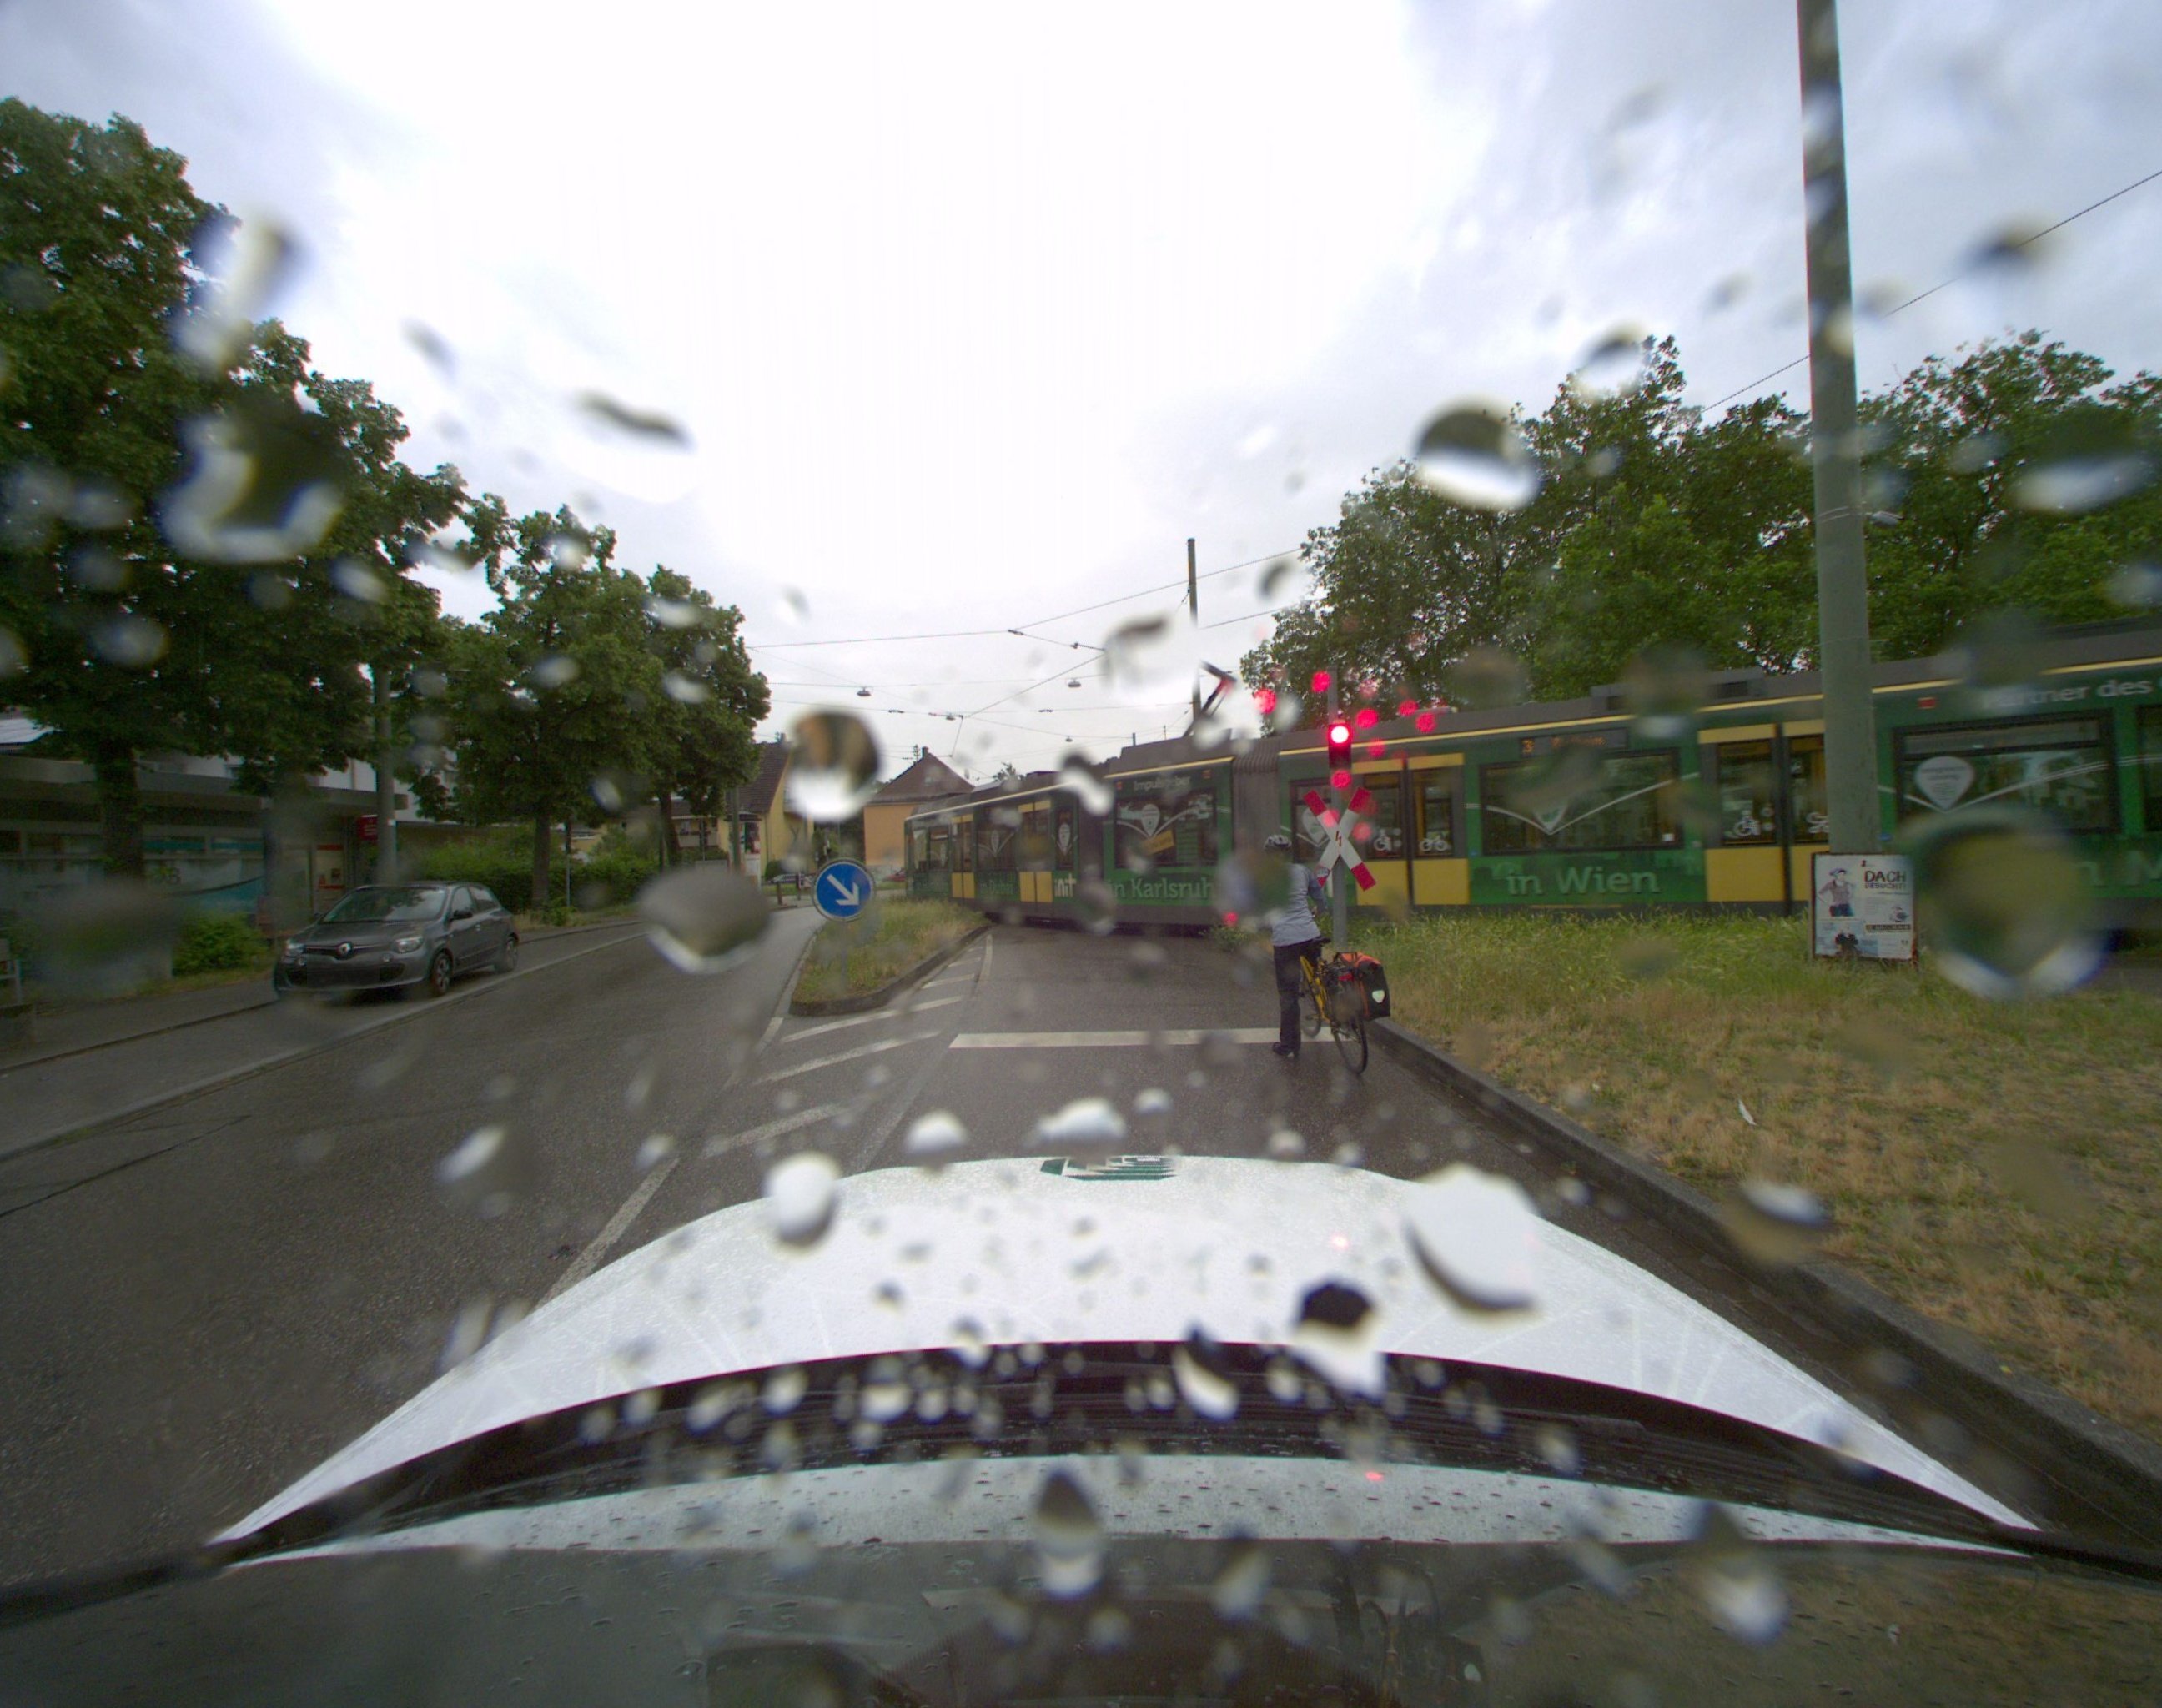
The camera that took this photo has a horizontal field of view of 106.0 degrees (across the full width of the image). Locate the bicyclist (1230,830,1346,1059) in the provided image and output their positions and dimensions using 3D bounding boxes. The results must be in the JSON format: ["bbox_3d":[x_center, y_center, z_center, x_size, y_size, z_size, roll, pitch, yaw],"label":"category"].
[{"bbox_3d":[1.554,0.646,6.229,0.665,1.626,0.853,0,-1,1],"label":"bicyclist"}]

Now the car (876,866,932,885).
[{"bbox_3d":[-13.665,1.650,63.075,3.979,1.456,1.831,0,-1,-5],"label":"car"}]

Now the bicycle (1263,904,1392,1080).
[{"bbox_3d":[1.790,0.948,6.141,0.444,1.004,1.728,-2,0,1],"label":"bicycle"}]

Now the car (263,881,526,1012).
[{"bbox_3d":[-9.695,1.189,11.881,1.621,1.496,3.645,0,-1,-18],"label":"car"}]

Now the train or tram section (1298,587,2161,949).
[{"bbox_3d":[9.250,-0.770,10.439,12.046,3.553,2.787,-3,-1,31],"label":"train or tram section"}]

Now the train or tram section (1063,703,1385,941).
[{"bbox_3d":[2.469,-0.427,14.869,4.925,3.553,2.786,-3,-1,43],"label":"train or tram section"}]

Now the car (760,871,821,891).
[{"bbox_3d":[-22.111,2.029,62.030,3.979,1.456,1.831,0,-1,-5],"label":"car"}]

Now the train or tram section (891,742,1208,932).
[{"bbox_3d":[-1.817,-0.201,21.527,2.777,3.553,13.010,-2,0,-29],"label":"train or tram section"}]
